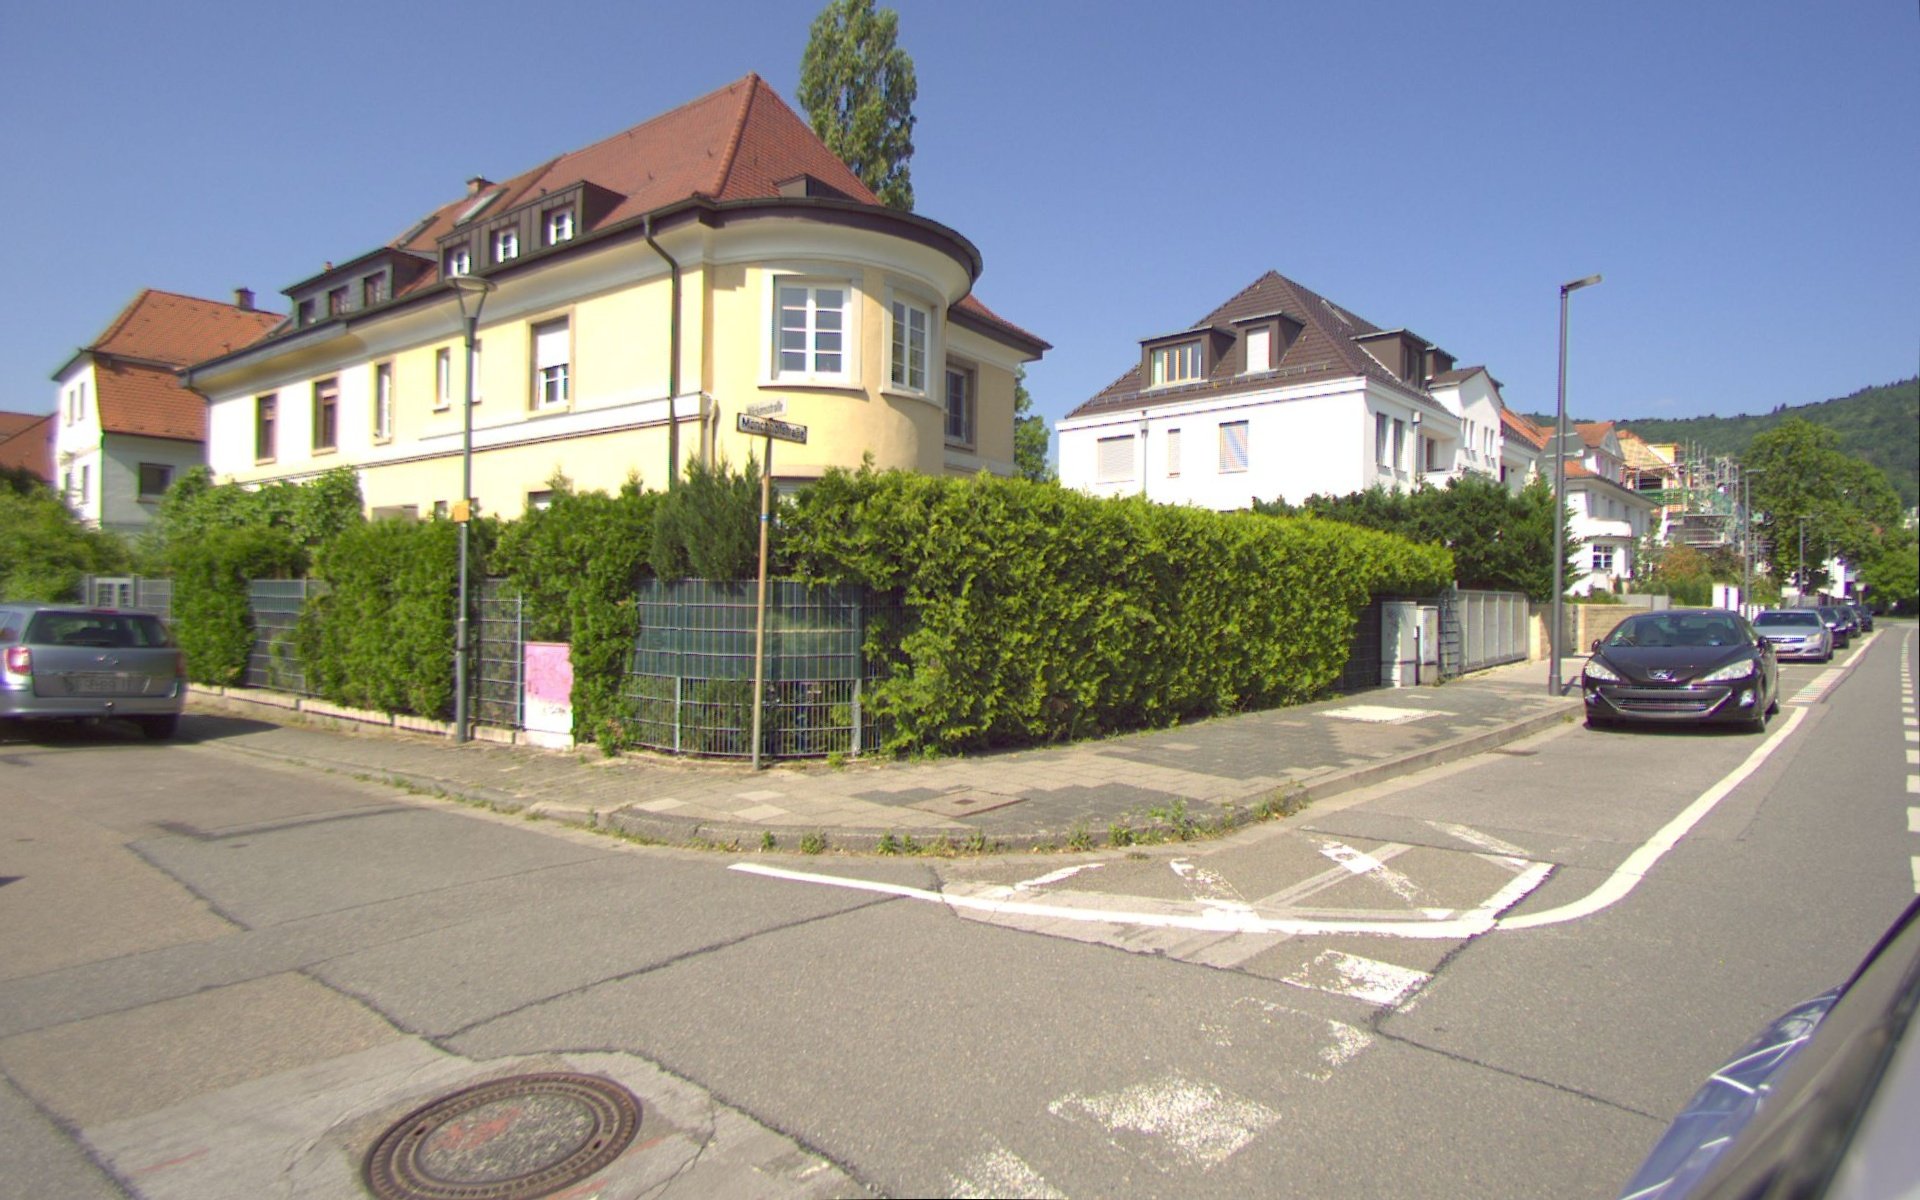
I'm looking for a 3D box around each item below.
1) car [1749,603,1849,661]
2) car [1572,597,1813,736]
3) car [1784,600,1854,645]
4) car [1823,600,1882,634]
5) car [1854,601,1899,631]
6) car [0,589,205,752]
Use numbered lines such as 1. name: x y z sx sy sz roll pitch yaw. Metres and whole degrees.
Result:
1. car: 22.167 0.816 26.692 1.736 1.346 4.013 -3 -1 43
2. car: 9.486 0.783 12.969 4.273 1.488 1.737 1 -4 -44
3. car: 30.113 0.755 35.434 1.720 1.468 4.105 -3 -2 42
4. car: 41.407 0.762 46.923 3.931 1.467 1.622 0 0 -42
5. car: 51.119 0.860 56.501 1.694 1.603 4.828 1 0 41
6. car: -10.529 0.671 11.669 3.974 1.588 1.788 0 0 35
